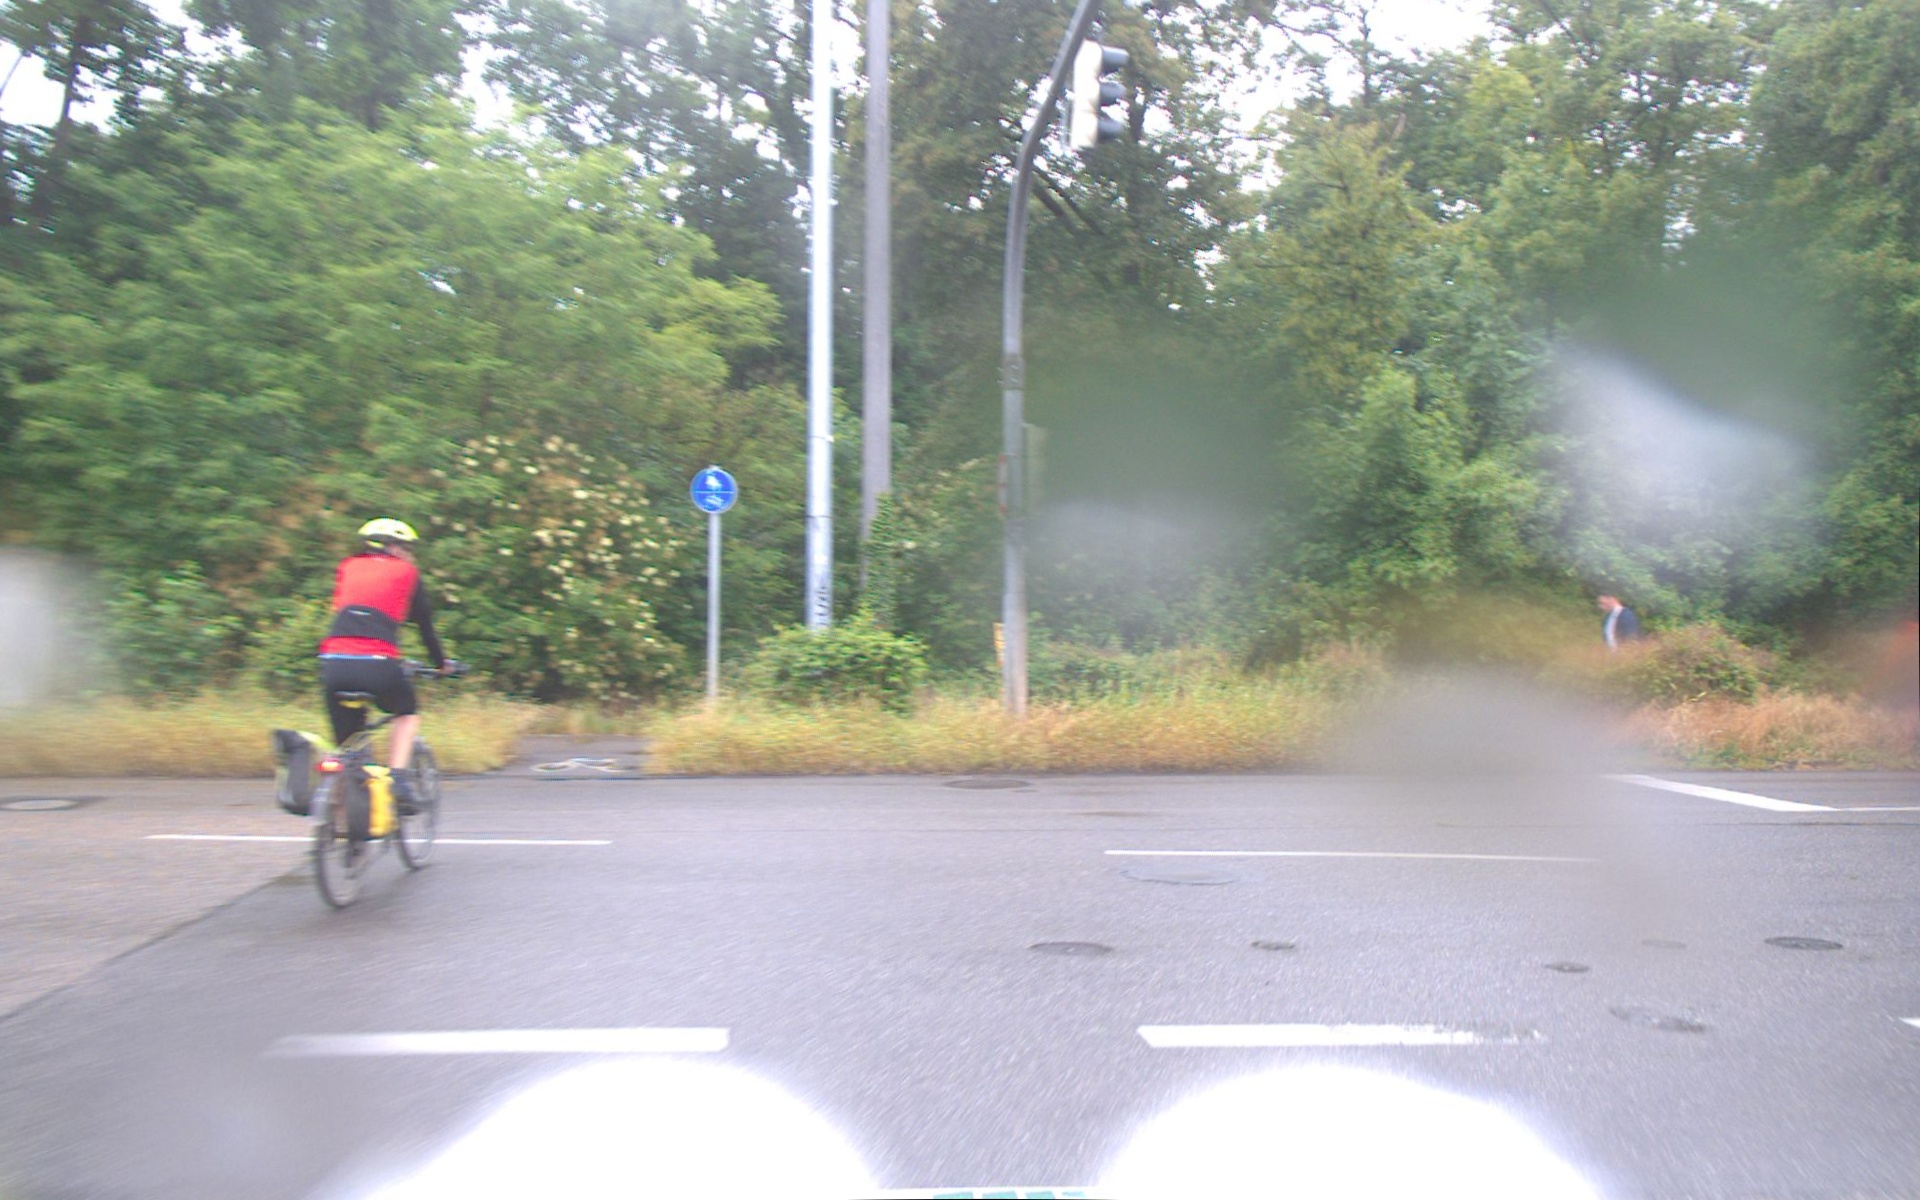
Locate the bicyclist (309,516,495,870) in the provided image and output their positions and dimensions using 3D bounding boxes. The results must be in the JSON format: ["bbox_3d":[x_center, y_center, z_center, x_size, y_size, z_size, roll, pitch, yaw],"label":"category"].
[{"bbox_3d":[-2.813,0.441,8.428,0.566,1.681,1.048,1,0,0],"label":"bicyclist"}]

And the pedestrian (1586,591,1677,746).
[{"bbox_3d":[8.095,0.814,19.960,0.746,1.831,0.778,1,-1,-5],"label":"pedestrian"}]

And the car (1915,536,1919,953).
[{"bbox_3d":[6.338,0.638,7.514,3.946,1.829,1.796,0,-1,-31],"label":"car"}]

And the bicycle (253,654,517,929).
[{"bbox_3d":[-2.818,0.880,8.355,0.566,1.115,2.154,1,0,0],"label":"bicycle"}]
